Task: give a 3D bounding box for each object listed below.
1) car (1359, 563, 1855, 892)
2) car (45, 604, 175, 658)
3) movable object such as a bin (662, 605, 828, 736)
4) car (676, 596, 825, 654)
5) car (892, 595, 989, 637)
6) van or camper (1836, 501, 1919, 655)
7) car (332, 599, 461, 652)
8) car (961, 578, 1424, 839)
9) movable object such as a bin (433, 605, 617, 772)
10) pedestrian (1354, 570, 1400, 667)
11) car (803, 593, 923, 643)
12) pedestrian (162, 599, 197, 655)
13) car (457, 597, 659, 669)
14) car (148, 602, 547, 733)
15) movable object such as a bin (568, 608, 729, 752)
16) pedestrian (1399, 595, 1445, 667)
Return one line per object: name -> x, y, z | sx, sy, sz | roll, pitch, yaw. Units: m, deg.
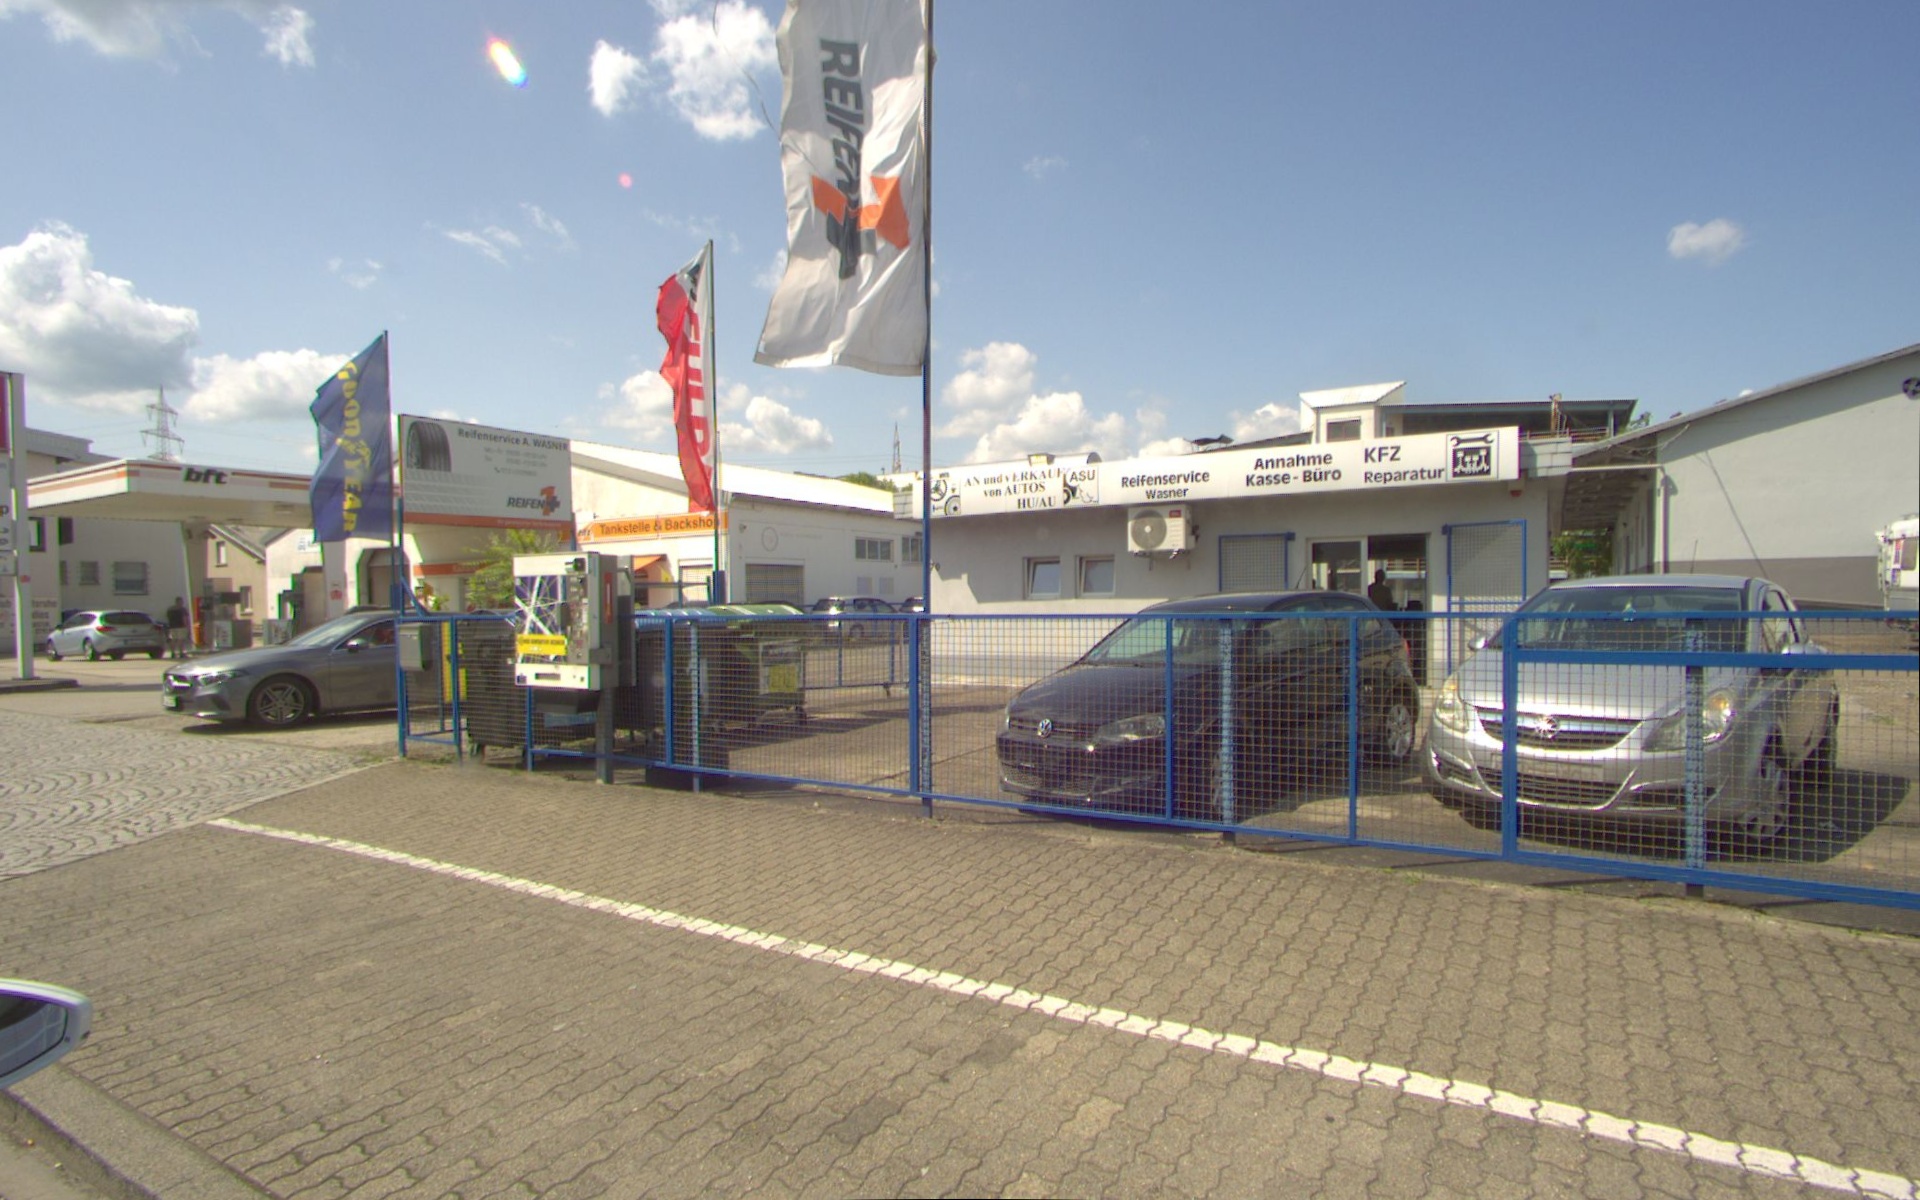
car -> 4.270, 0.562, 6.383 | 3.729, 1.472, 1.757 | -1, 0, -42
car -> -25.738, 0.902, 30.310 | 3.776, 1.523, 1.803 | 0, 0, 30
movable object such as a bin -> -2.535, 0.784, 11.906 | 1.318, 1.414, 1.400 | 0, 1, 31
car -> -5.719, 0.643, 27.823 | 1.564, 1.482, 4.187 | 0, 0, 33
car -> -0.640, 0.535, 35.739 | 1.564, 1.385, 3.860 | 0, 0, 33
van or camper -> 21.013, -0.452, 19.531 | 5.571, 3.005, 2.264 | 0, 1, 31
car -> -17.310, 0.748, 30.727 | 3.777, 1.523, 1.803 | -1, 0, 31
car -> 1.893, 0.603, 7.490 | 3.655, 1.472, 1.625 | -1, 0, -43
movable object such as a bin -> -4.161, 0.787, 9.610 | 1.225, 1.455, 1.106 | 0, 1, 31
pedestrian -> 7.350, 0.321, 17.648 | 0.654, 1.671, 0.563 | 0, 1, 34
car -> -3.016, 0.528, 32.054 | 1.564, 1.482, 4.187 | 0, 0, 33
pedestrian -> -23.777, 0.801, 30.520 | 0.698, 1.679, 0.546 | -1, 1, -22
car -> -9.166, 0.689, 23.167 | 1.564, 1.482, 4.187 | 0, 0, 33
car -> -7.970, 0.765, 13.399 | 1.654, 1.434, 4.253 | 0, 0, 39
movable object such as a bin -> -3.329, 0.804, 10.741 | 1.225, 1.415, 1.106 | 0, 1, 31
pedestrian -> 8.045, 0.534, 17.441 | 0.654, 1.225, 0.563 | 0, 1, 34
